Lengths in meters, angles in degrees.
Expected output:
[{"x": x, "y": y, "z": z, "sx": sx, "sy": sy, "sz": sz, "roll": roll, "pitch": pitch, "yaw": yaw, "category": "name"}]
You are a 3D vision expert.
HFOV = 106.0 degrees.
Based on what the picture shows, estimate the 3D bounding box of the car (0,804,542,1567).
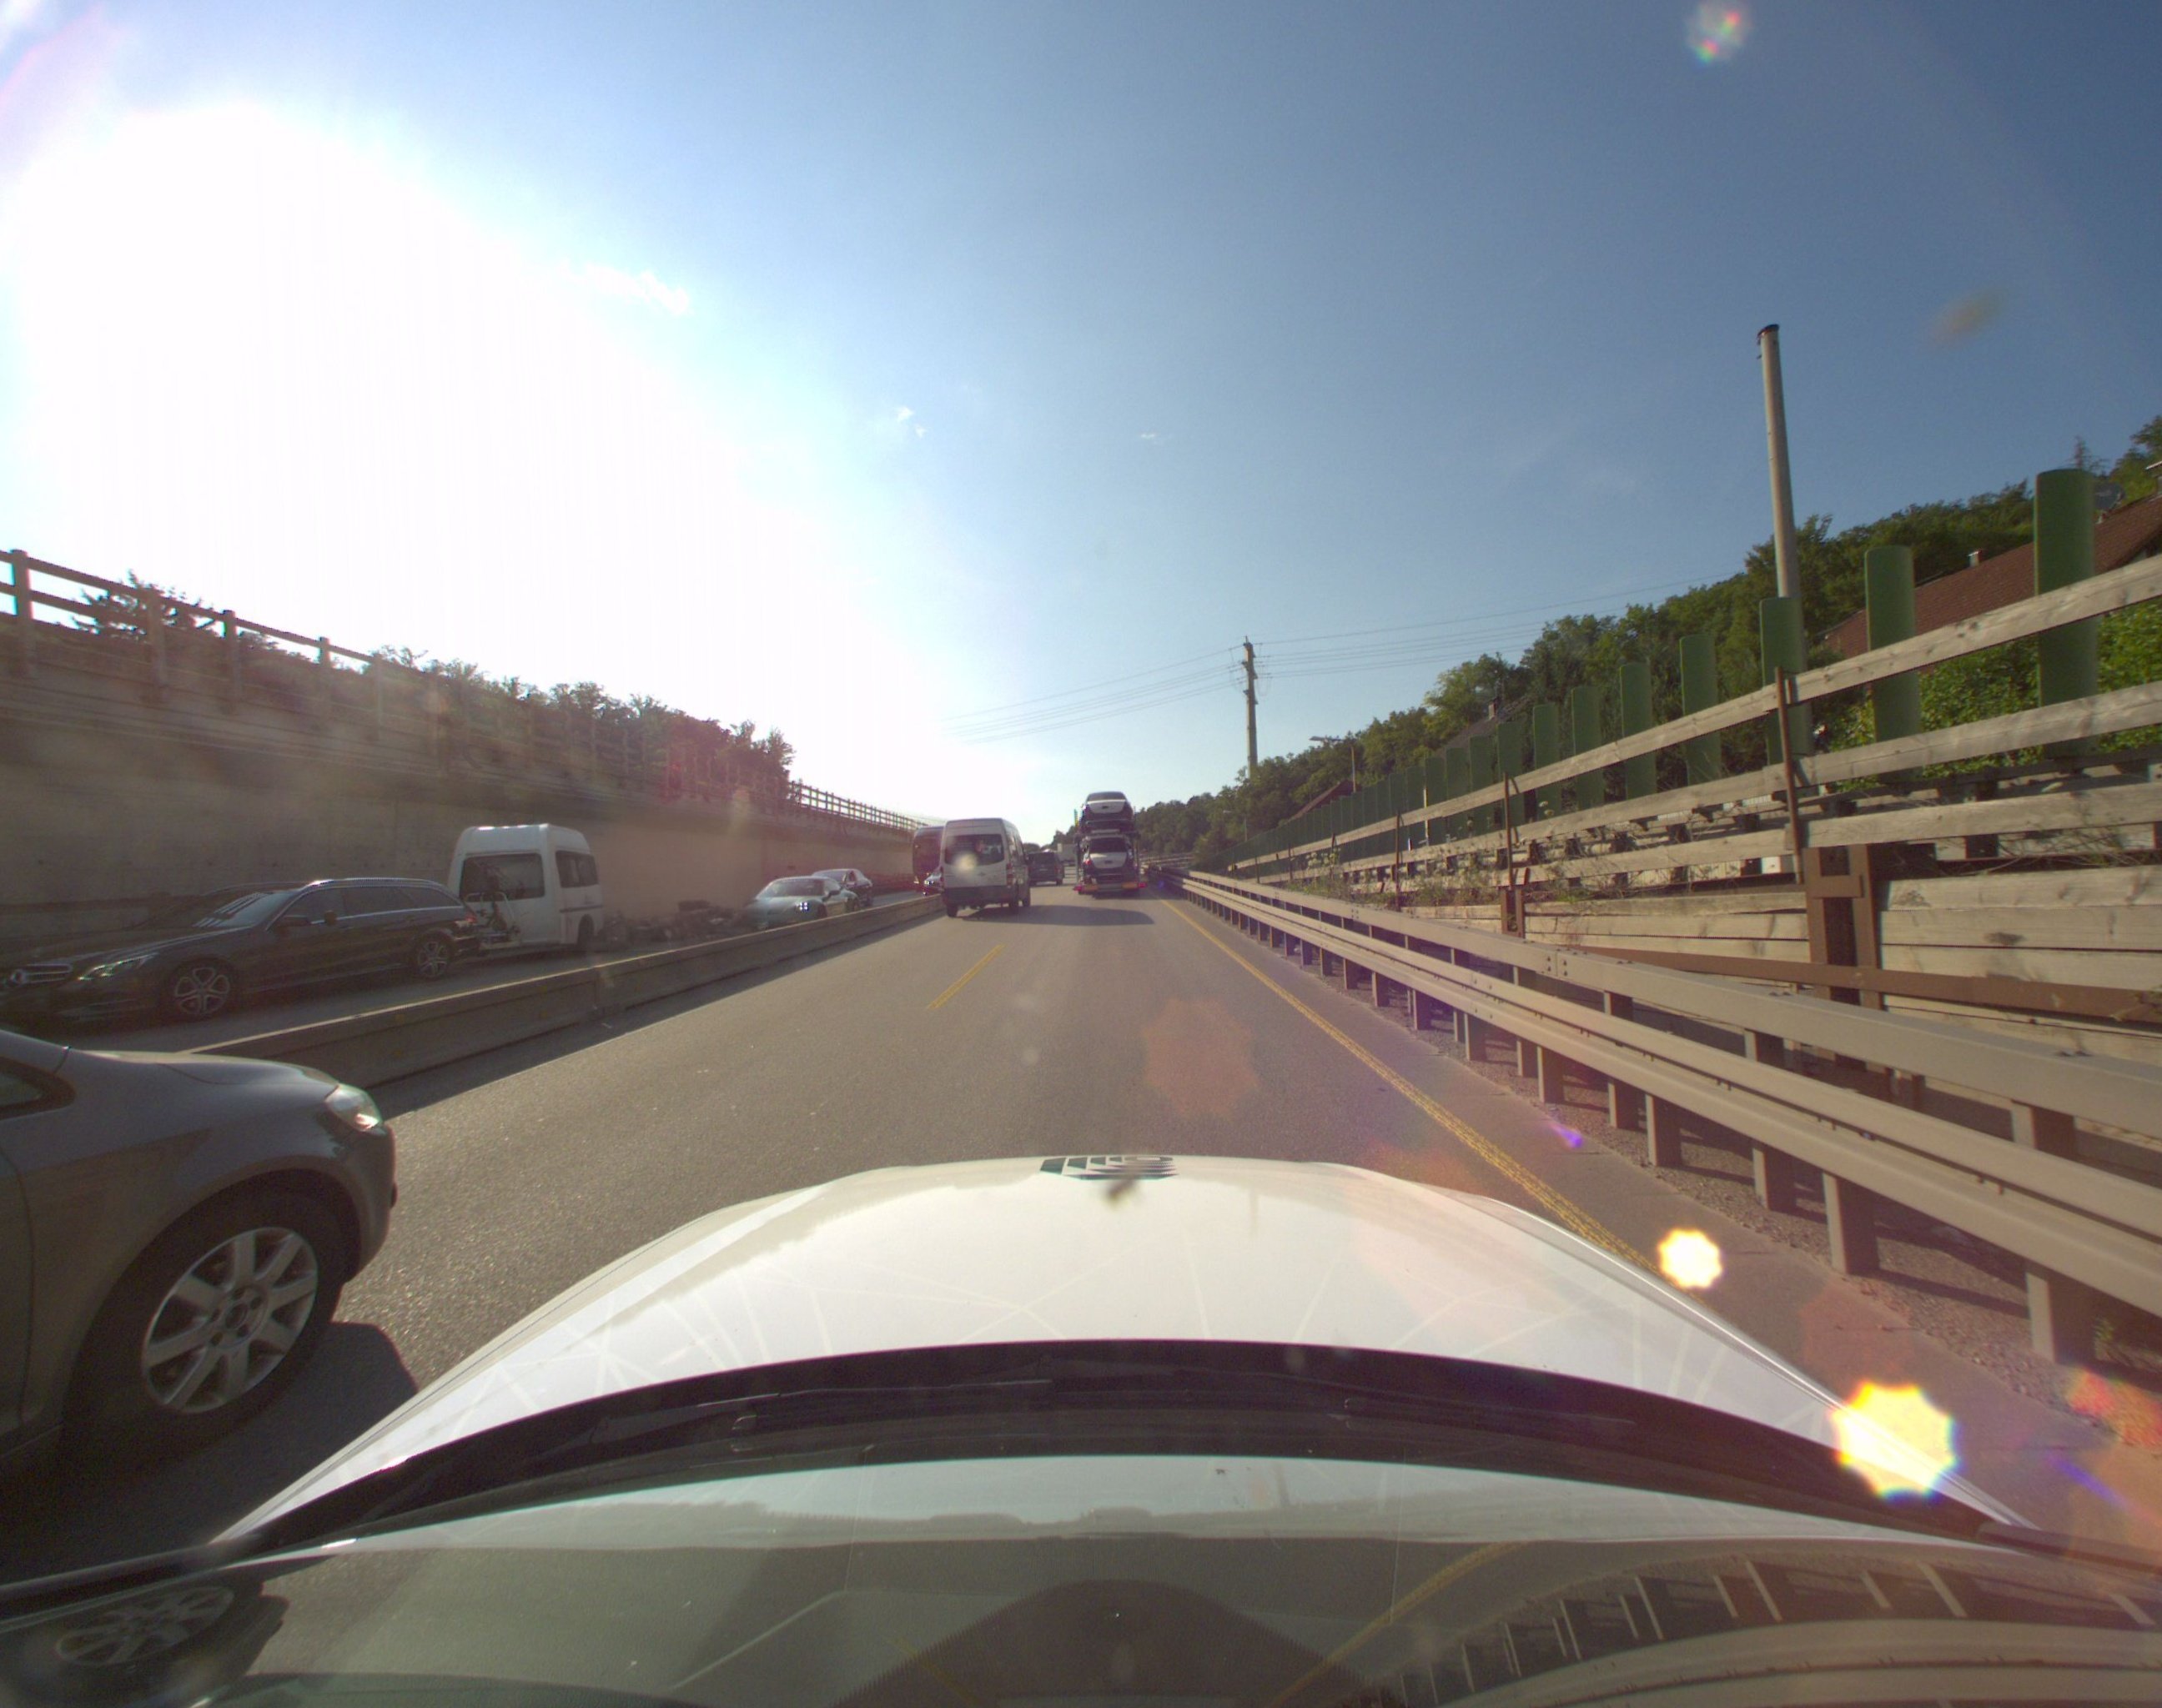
[{"x": -3.135, "y": 0.722, "z": 1.179, "sx": 1.674, "sy": 1.588, "sz": 4.274, "roll": -2, "pitch": 0, "yaw": 2, "category": "car"}]

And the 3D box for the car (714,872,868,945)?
[{"x": -6.203, "y": 1.109, "z": 17.962, "sx": 1.774, "sy": 1.325, "sz": 4.240, "roll": -1, "pitch": -1, "yaw": 1, "category": "car"}]

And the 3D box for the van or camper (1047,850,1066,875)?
[{"x": -2.670, "y": 0.990, "z": 90.154, "sx": 1.962, "sy": 2.592, "sz": 5.039, "roll": 0, "pitch": -2, "yaw": -1, "category": "van or camper"}]

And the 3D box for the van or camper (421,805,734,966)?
[{"x": -9.995, "y": 0.573, "z": 17.141, "sx": 2.303, "sy": 2.663, "sz": 6.458, "roll": -2, "pitch": -1, "yaw": 2, "category": "van or camper"}]

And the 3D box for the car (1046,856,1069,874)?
[{"x": -2.018, "y": 0.964, "z": 70.921, "sx": 1.719, "sy": 1.522, "sz": 3.974, "roll": 0, "pitch": -1, "yaw": 1, "category": "car"}]

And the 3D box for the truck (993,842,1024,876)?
[{"x": -9.308, "y": 0.758, "z": 106.606, "sx": 2.974, "sy": 4.153, "sz": 15.845, "roll": 0, "pitch": -1, "yaw": -1, "category": "truck"}]

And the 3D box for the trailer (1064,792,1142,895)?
[{"x": 1.143, "y": -0.178, "z": 35.634, "sx": 2.672, "sy": 3.535, "sz": 15.297, "roll": 0, "pitch": -1, "yaw": 3, "category": "trailer"}]

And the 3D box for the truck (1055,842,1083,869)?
[{"x": -2.216, "y": 0.290, "z": 145.390, "sx": 4.060, "sy": 4.680, "sz": 10.569, "roll": -1, "pitch": -1, "yaw": -6, "category": "truck"}]

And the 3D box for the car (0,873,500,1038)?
[{"x": -9.998, "y": 1.049, "z": 10.347, "sx": 1.634, "sy": 1.531, "sz": 4.785, "roll": -2, "pitch": -1, "yaw": 2, "category": "car"}]

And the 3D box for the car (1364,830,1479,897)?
[{"x": 10.450, "y": 0.361, "z": 25.377, "sx": 1.800, "sy": 1.871, "sz": 4.440, "roll": -1, "pitch": -2, "yaw": 1, "category": "car"}]

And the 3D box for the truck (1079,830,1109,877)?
[{"x": 1.276, "y": 0.044, "z": 83.903, "sx": 2.899, "sy": 4.607, "sz": 7.283, "roll": -1, "pitch": -1, "yaw": -1, "category": "truck"}]

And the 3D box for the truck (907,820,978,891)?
[{"x": -8.839, "y": 0.137, "z": 53.193, "sx": 2.615, "sy": 4.112, "sz": 9.627, "roll": -3, "pitch": -1, "yaw": 1, "category": "truck"}]

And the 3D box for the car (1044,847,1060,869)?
[{"x": -6.801, "y": 0.902, "z": 189.094, "sx": 3.437, "sy": 5.035, "sz": 9.641, "roll": 0, "pitch": -1, "yaw": -3, "category": "car"}]

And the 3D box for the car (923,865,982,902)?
[{"x": -5.841, "y": 1.331, "z": 37.582, "sx": 1.830, "sy": 1.594, "sz": 4.868, "roll": 0, "pitch": -2, "yaw": 1, "category": "car"}]

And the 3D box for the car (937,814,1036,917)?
[{"x": -2.619, "y": 0.323, "z": 23.954, "sx": 1.985, "sy": 2.648, "sz": 5.533, "roll": -1, "pitch": -1, "yaw": 2, "category": "car"}]

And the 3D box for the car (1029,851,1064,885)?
[{"x": -2.003, "y": 0.869, "z": 48.388, "sx": 1.802, "sy": 1.904, "sz": 4.000, "roll": 0, "pitch": -2, "yaw": 1, "category": "car"}]

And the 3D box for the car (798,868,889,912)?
[{"x": -9.097, "y": 1.320, "z": 31.639, "sx": 1.965, "sy": 1.421, "sz": 4.900, "roll": -3, "pitch": -1, "yaw": 1, "category": "car"}]

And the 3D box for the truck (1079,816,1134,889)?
[{"x": 1.384, "y": 0.025, "z": 43.243, "sx": 2.672, "sy": 3.535, "sz": 7.196, "roll": 0, "pitch": -1, "yaw": 2, "category": "truck"}]
